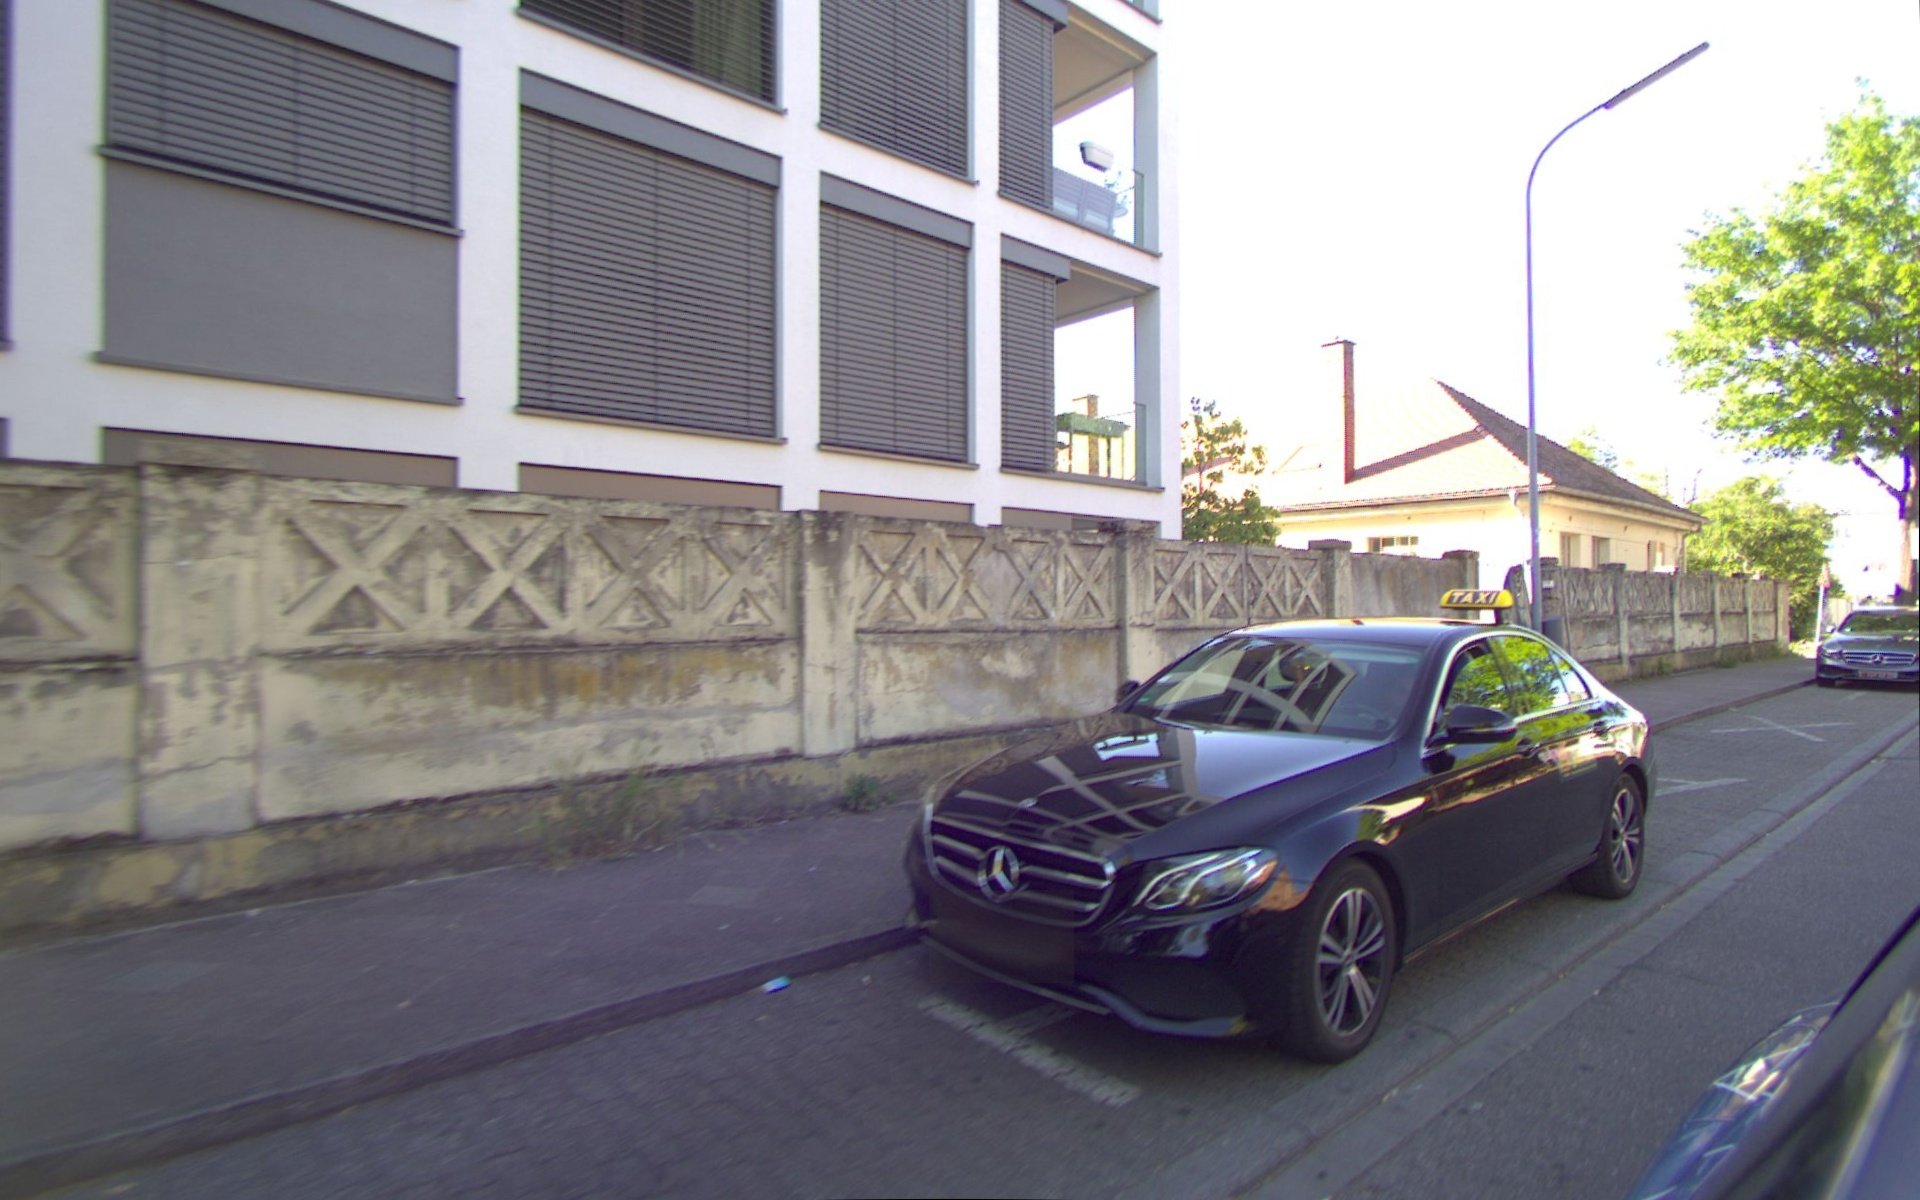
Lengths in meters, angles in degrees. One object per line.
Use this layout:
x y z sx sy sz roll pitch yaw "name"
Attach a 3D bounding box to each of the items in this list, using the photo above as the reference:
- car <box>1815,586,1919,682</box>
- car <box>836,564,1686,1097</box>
17.571 0.589 18.819 4.223 1.622 1.886 0 -2 -41 "car"
1.830 0.645 4.919 4.679 1.429 1.723 1 -1 -41 "car"
